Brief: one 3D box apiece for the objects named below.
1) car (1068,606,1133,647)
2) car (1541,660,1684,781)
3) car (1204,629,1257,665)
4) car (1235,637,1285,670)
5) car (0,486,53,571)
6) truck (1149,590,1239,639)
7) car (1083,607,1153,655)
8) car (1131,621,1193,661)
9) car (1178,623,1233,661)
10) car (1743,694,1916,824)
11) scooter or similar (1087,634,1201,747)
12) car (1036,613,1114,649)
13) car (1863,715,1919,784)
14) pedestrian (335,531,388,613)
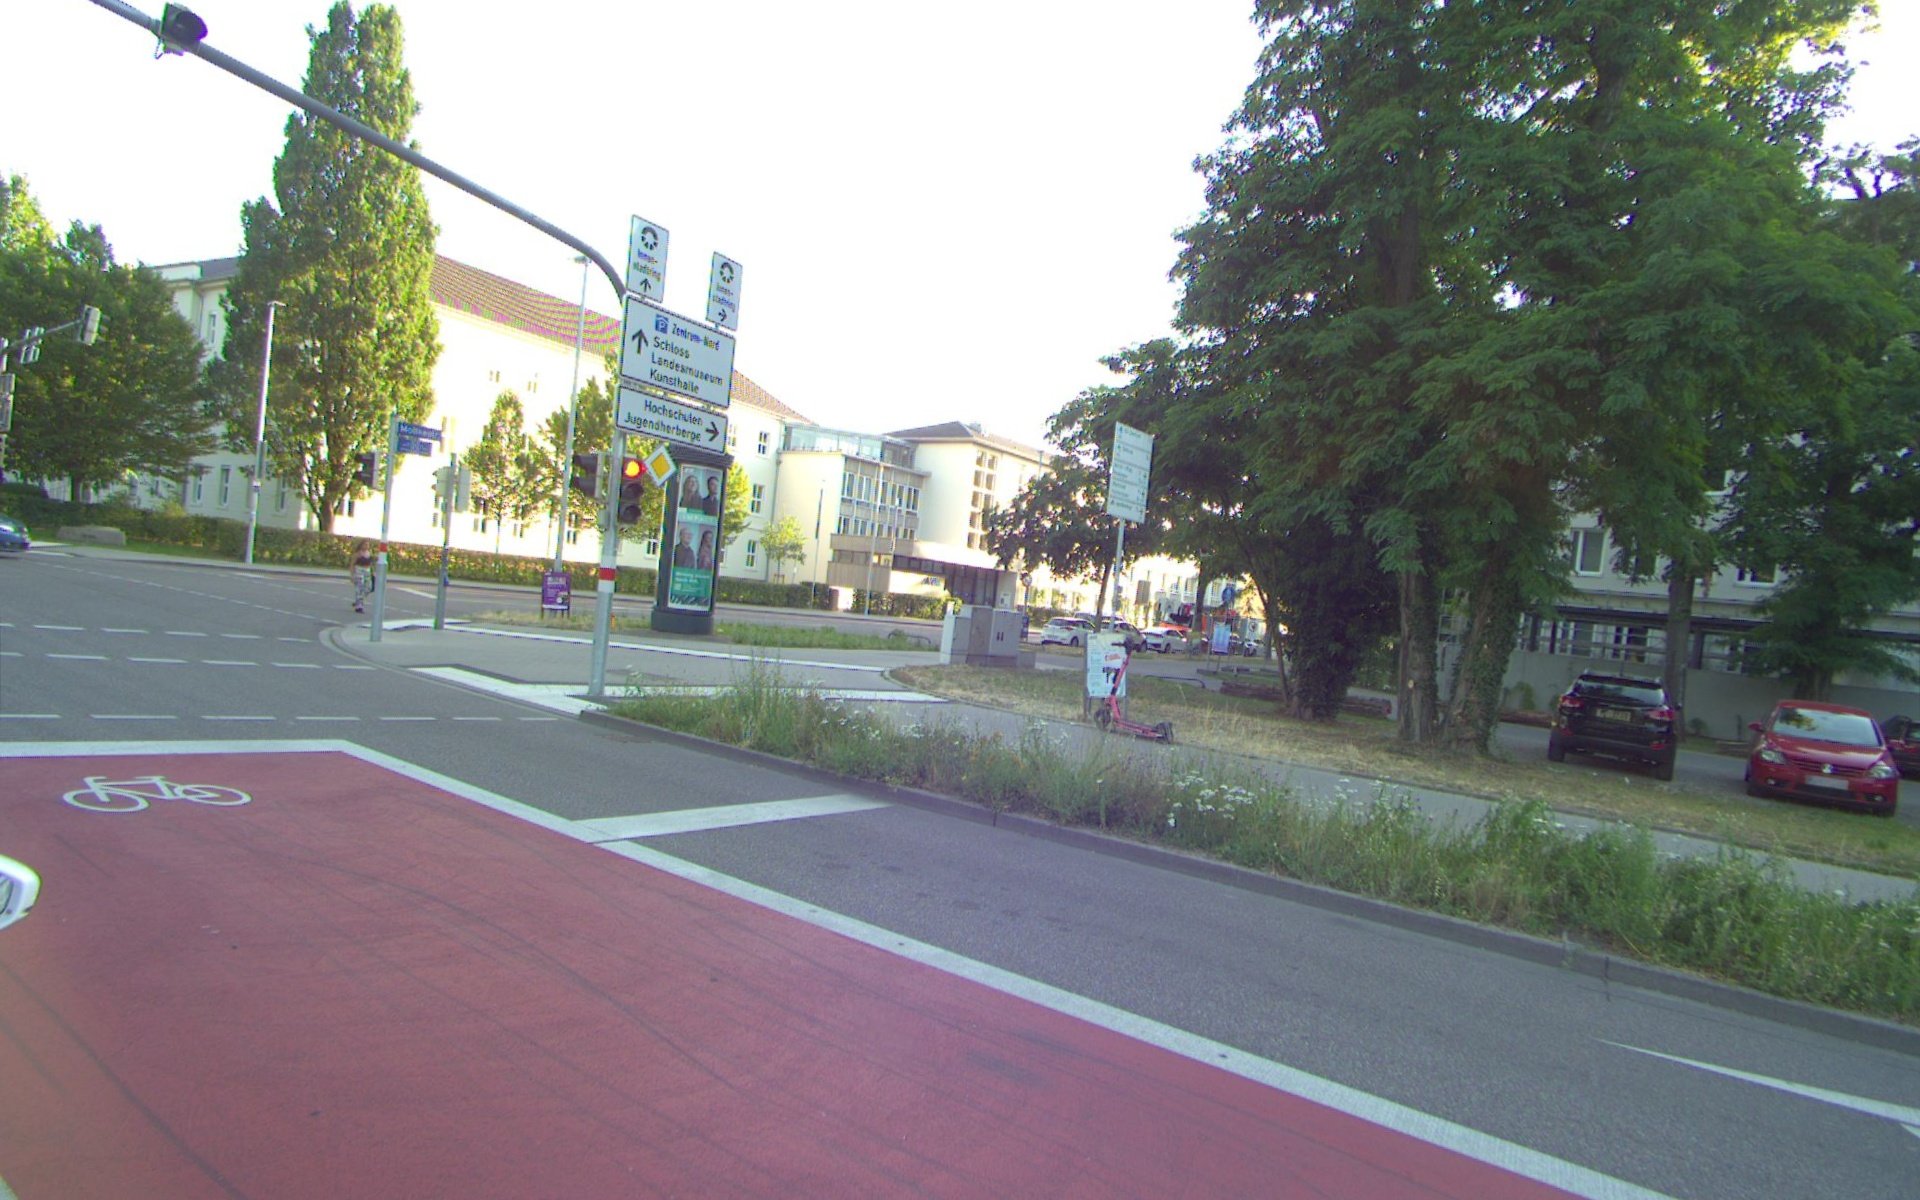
[{"bbox_3d":[7.747,1.473,55.177,1.720,1.783,3.989,7,-1,35],"label":"car"},{"bbox_3d":[11.765,2.110,18.063,1.808,1.715,3.899,7,-1,36],"label":"car"},{"bbox_3d":[17.225,3.032,63.857,1.789,1.893,4.136,7,-1,35],"label":"car"},{"bbox_3d":[20.375,3.657,68.235,1.873,1.831,3.988,7,-1,36],"label":"car"},{"bbox_3d":[-23.091,-1.838,22.128,4.250,1.742,1.839,7,2,-31],"label":"car"},{"bbox_3d":[15.863,1.061,67.462,2.327,2.315,10.049,7,-1,34],"label":"truck"},{"bbox_3d":[8.067,1.585,51.187,1.713,2.038,3.988,7,-1,36],"label":"car"},{"bbox_3d":[11.076,2.269,55.104,1.720,1.783,3.989,7,-1,35],"label":"car"},{"bbox_3d":[14.609,2.496,59.727,1.698,1.879,3.989,7,-1,35],"label":"car"},{"bbox_3d":[13.994,2.454,16.401,1.759,1.581,3.984,7,0,38],"label":"car"},{"bbox_3d":[2.329,1.135,12.807,1.289,1.247,0.311,7,1,32],"label":"scooter or similar"},{"bbox_3d":[5.479,1.492,47.707,1.793,1.358,3.985,6,0,37],"label":"car"},{"bbox_3d":[23.180,3.621,24.031,1.873,1.459,3.987,7,-1,37],"label":"car"},{"bbox_3d":[-12.945,-0.598,21.760,0.680,1.656,0.600,7,1,32],"label":"pedestrian"}]
